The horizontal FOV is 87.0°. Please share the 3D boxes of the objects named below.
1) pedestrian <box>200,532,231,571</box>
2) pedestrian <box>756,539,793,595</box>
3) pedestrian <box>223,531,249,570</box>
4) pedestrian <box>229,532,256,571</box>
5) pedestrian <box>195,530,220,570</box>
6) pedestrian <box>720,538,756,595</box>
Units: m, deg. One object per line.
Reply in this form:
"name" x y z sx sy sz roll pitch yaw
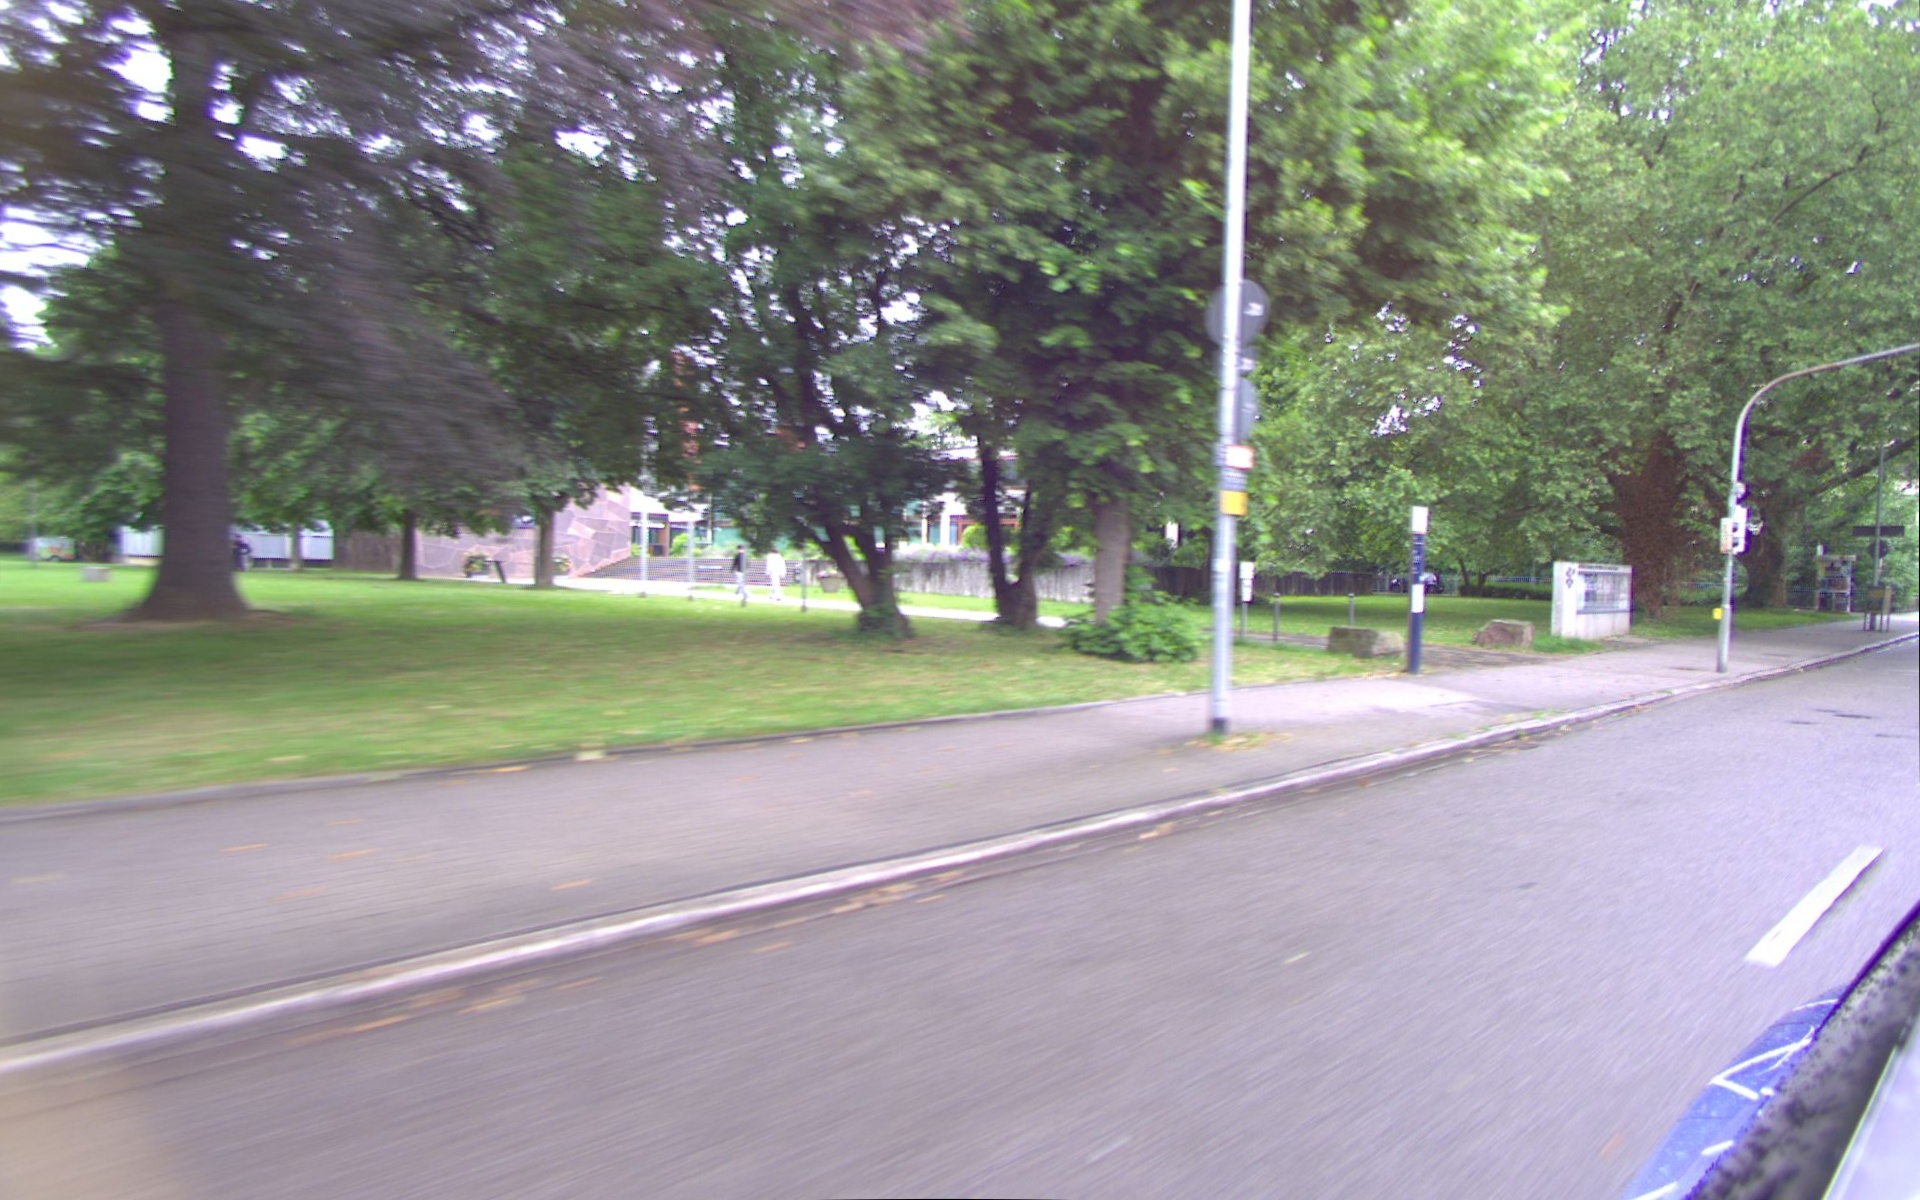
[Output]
"pedestrian" -35.145 -2.290 47.799 0.829 1.785 0.854 -1 0 16
"pedestrian" -6.067 -1.055 33.096 0.838 1.785 0.865 -1 0 44
"pedestrian" -33.943 -2.307 47.457 0.838 1.785 0.845 -1 0 44
"pedestrian" -34.279 -2.313 48.356 0.767 1.785 0.830 -1 0 37
"pedestrian" -34.373 -2.270 46.221 0.838 1.785 0.760 -1 0 44
"pedestrian" -7.117 -1.066 32.445 0.838 1.785 0.760 -1 0 44
